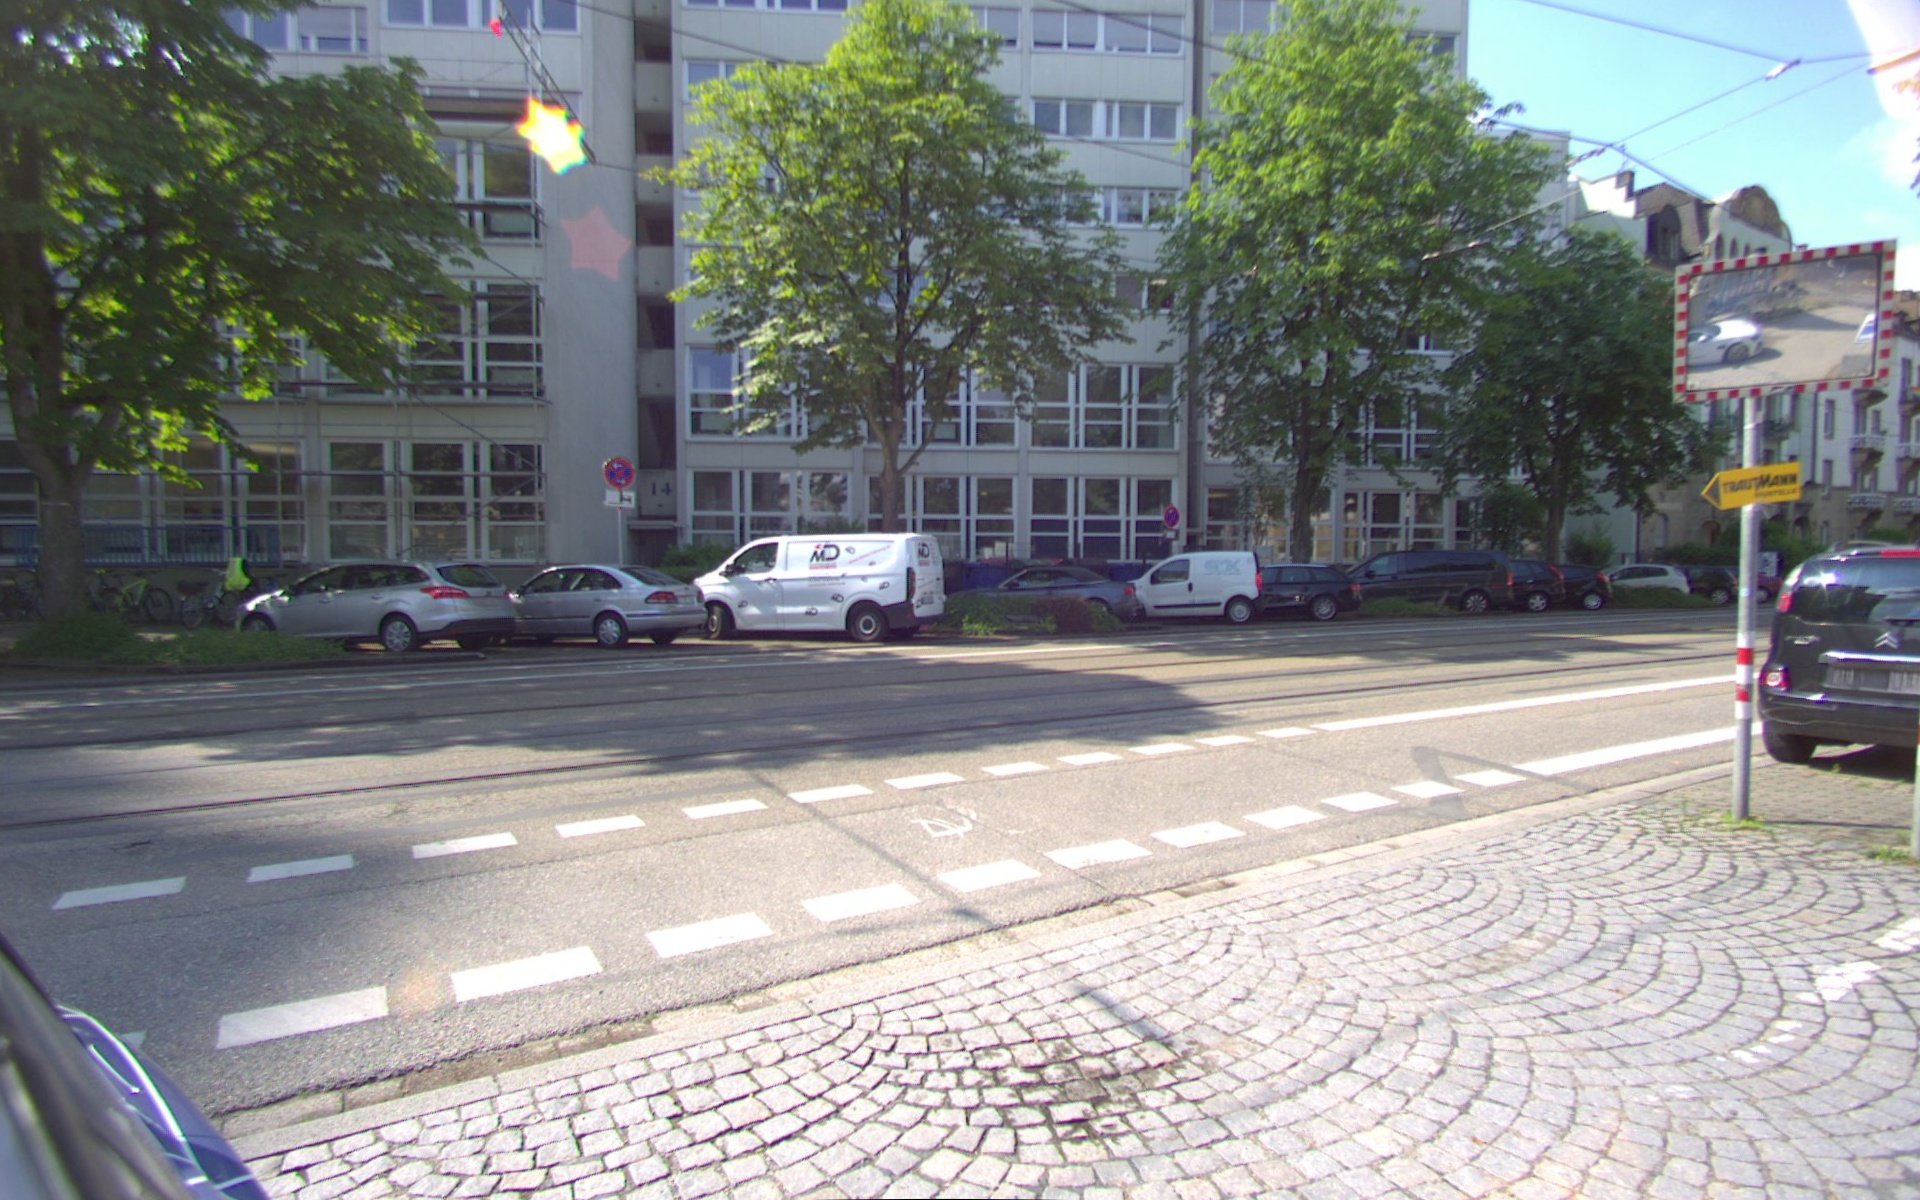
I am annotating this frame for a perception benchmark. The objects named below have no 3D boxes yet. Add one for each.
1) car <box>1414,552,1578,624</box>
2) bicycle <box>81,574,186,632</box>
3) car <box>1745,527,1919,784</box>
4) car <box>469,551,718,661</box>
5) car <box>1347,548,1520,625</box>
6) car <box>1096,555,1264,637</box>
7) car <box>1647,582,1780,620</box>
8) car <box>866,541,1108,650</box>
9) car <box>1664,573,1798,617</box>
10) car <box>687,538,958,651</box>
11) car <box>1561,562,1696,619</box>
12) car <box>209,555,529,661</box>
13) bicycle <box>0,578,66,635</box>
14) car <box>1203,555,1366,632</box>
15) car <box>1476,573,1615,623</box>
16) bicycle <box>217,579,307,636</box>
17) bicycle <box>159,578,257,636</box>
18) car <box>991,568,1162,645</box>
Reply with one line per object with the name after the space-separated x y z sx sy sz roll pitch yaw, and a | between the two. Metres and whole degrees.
16.267 -0.394 30.954 4.172 2.097 1.871 0 1 20 | car
-16.673 0.077 20.486 0.490 1.095 2.057 -2 -1 -2 | bicycle
7.574 0.380 7.364 3.523 1.624 1.684 1 -6 -31 | car
-6.355 0.152 17.627 3.750 1.487 1.716 -5 -3 16 | car
13.539 -0.406 29.196 4.163 2.097 1.875 0 1 14 | car
5.225 -0.060 24.204 3.722 1.725 1.875 -2 -1 14 | car
29.230 0.066 39.373 3.759 1.316 1.627 -2 -1 21 | car
0.560 -0.050 20.300 4.535 2.013 1.892 -1 -1 18 | car
28.329 -0.210 37.318 3.577 1.589 1.623 0 1 20 | car
-2.525 -0.112 18.835 4.603 1.926 1.921 -1 3 18 | car
23.944 -0.305 36.395 3.577 1.590 1.623 -6 -4 20 | car
-9.373 0.168 16.150 4.416 1.437 1.733 -2 -2 12 | car
-18.732 0.143 19.920 0.490 1.095 2.057 -2 -1 -2 | bicycle
8.157 -0.138 25.798 3.722 1.725 1.875 -2 -1 14 | car
18.725 -0.108 32.536 3.627 1.539 1.573 0 1 20 | car
-14.314 0.164 20.817 0.490 1.095 2.057 -2 -1 -2 | bicycle
-15.201 0.149 20.520 0.490 1.095 2.057 -2 -1 -2 | bicycle
2.634 0.178 22.605 3.598 1.512 1.756 -2 -2 11 | car
